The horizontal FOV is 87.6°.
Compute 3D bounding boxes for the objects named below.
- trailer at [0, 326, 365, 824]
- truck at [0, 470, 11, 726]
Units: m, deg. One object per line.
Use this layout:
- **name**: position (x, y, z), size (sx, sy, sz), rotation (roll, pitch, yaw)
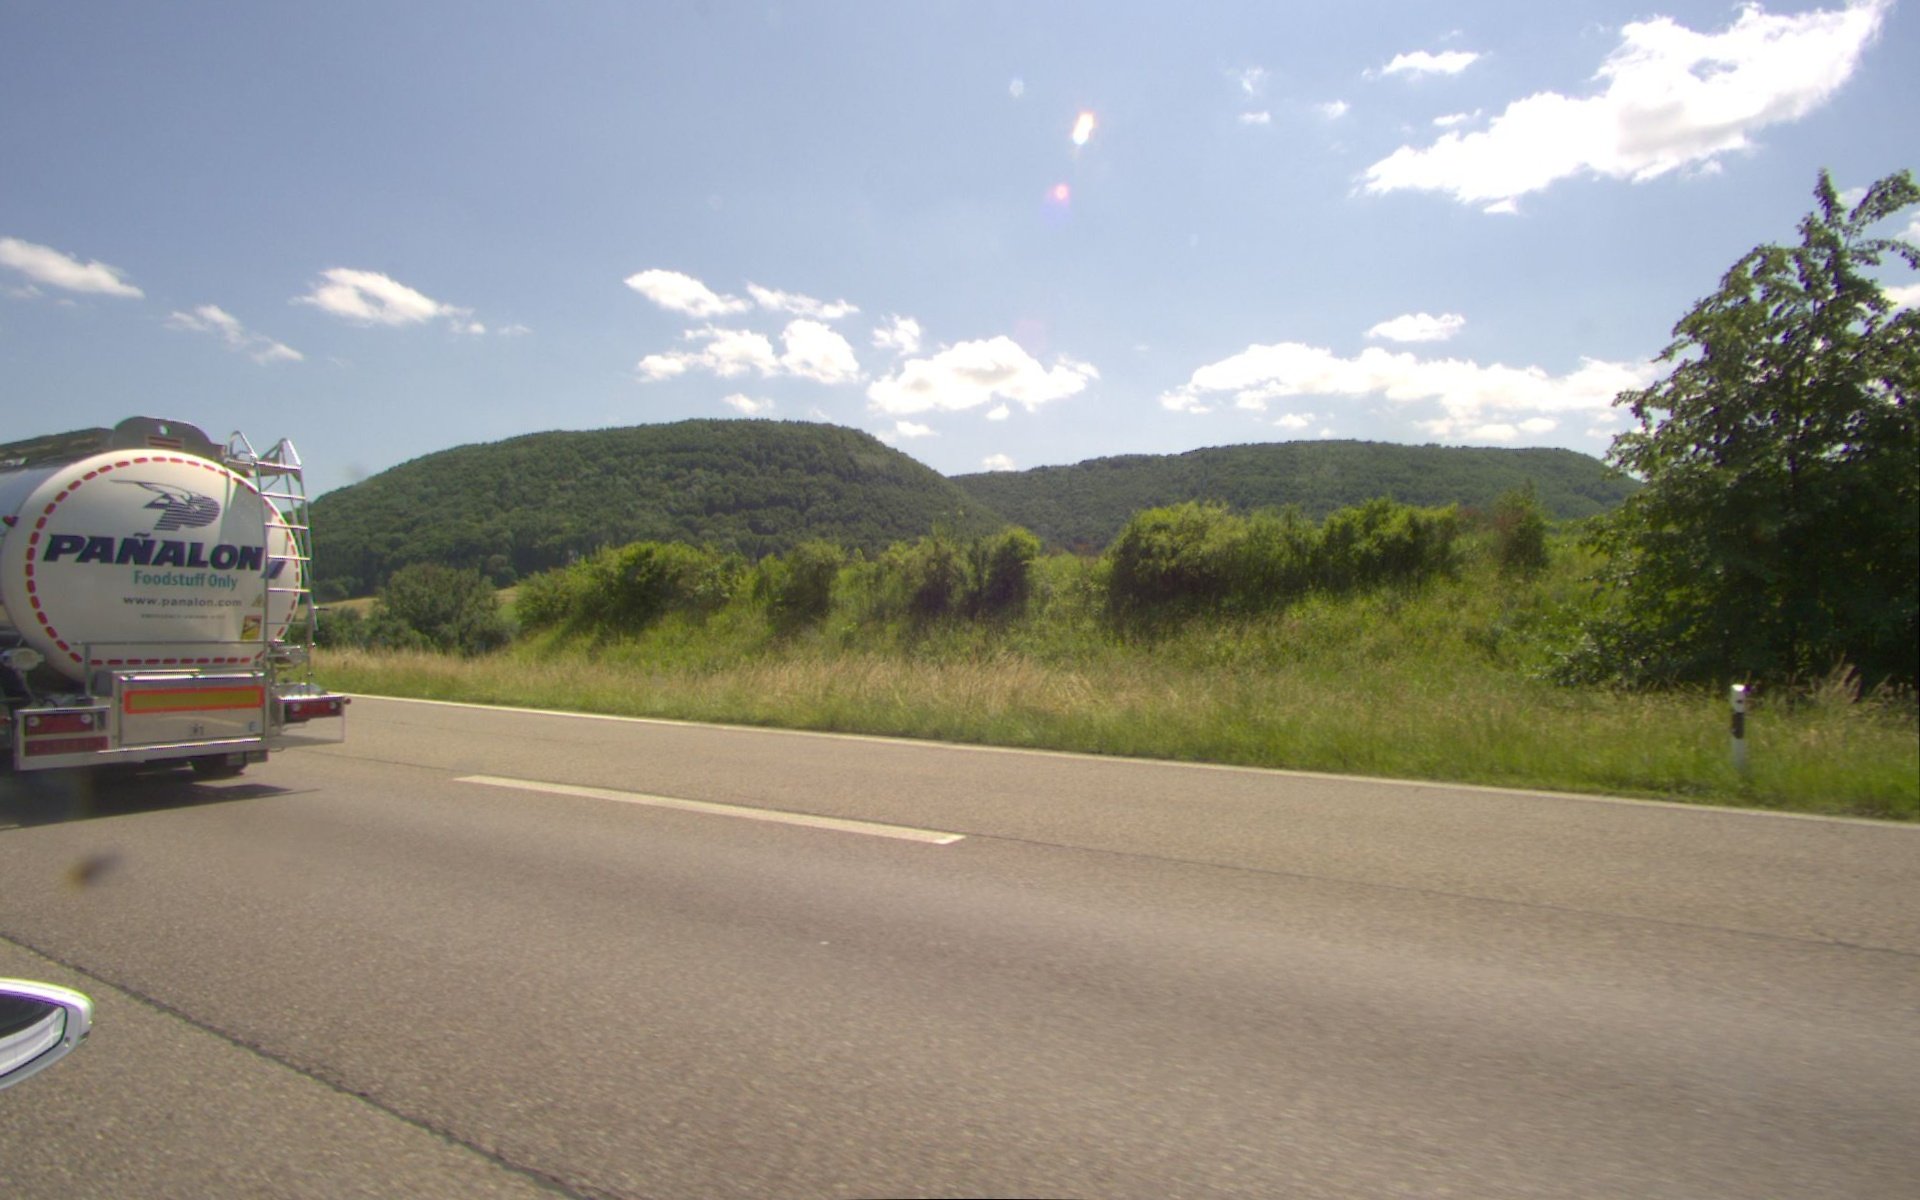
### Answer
- **trailer**: position (-11.455, -0.088, 11.783), size (11.719, 3.783, 2.534), rotation (-1, -1, 32)
- **truck**: position (-17.036, -0.025, 15.250), size (5.169, 3.807, 2.507), rotation (-1, -1, 32)
